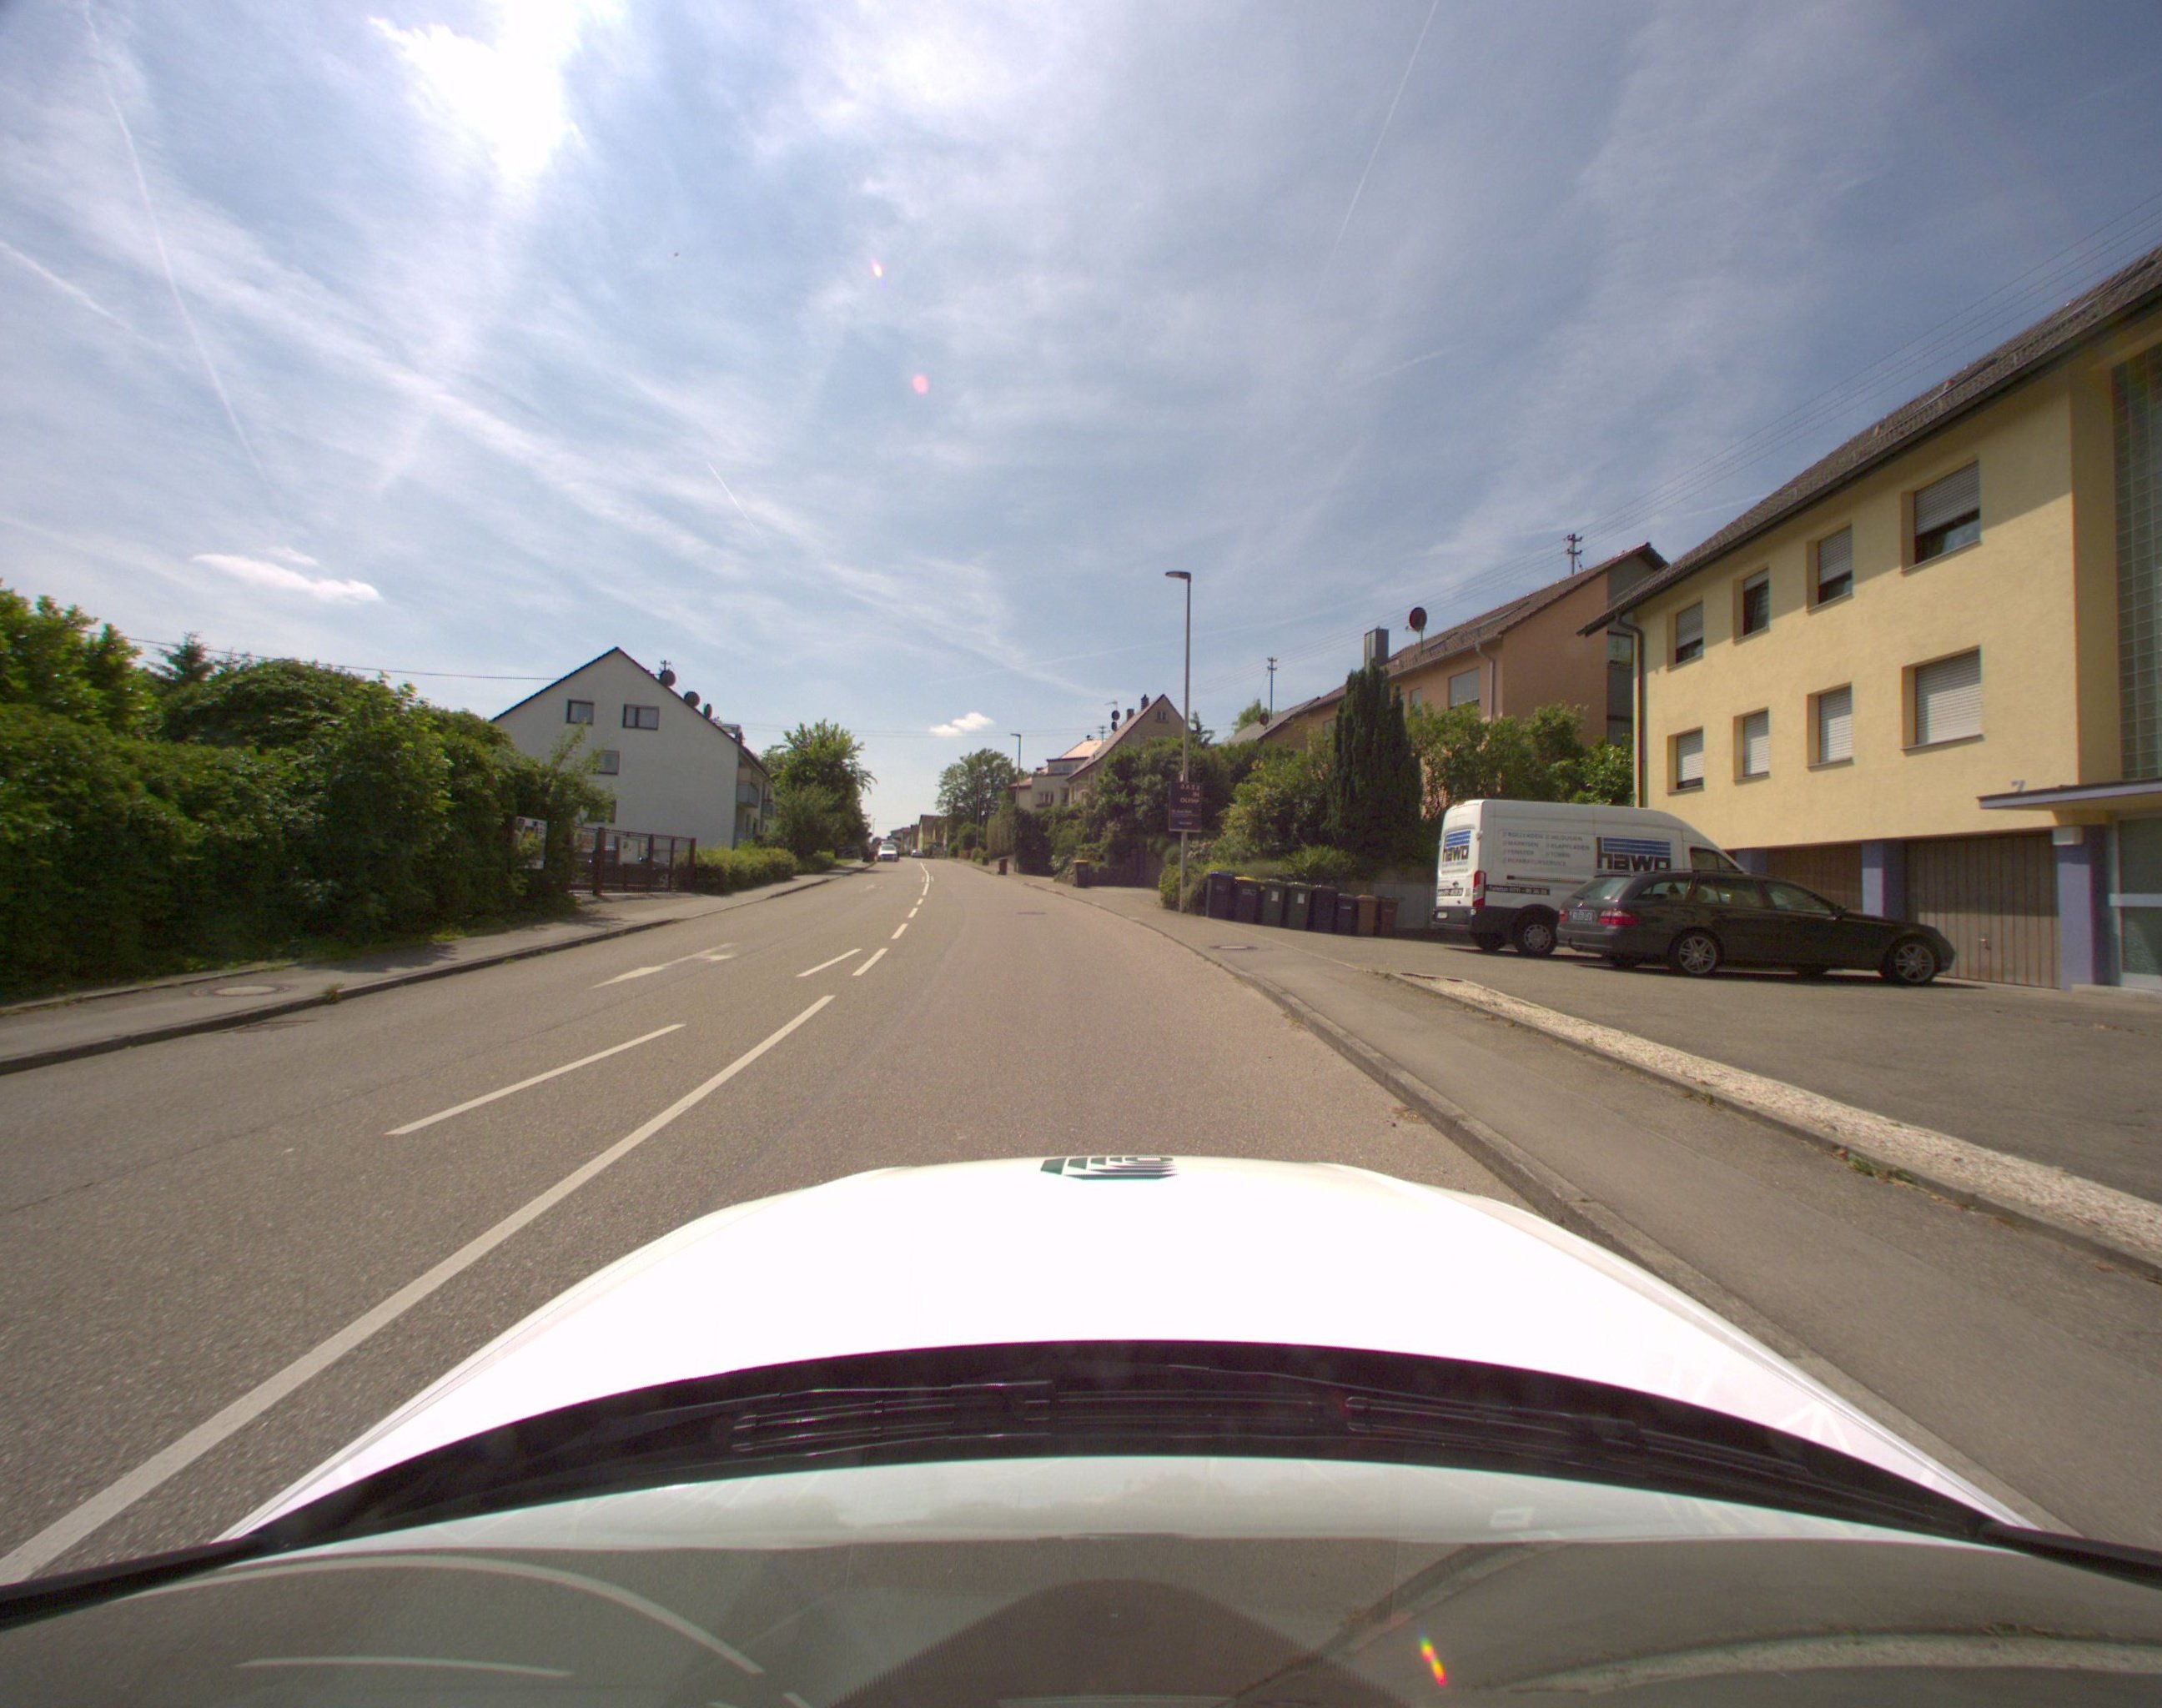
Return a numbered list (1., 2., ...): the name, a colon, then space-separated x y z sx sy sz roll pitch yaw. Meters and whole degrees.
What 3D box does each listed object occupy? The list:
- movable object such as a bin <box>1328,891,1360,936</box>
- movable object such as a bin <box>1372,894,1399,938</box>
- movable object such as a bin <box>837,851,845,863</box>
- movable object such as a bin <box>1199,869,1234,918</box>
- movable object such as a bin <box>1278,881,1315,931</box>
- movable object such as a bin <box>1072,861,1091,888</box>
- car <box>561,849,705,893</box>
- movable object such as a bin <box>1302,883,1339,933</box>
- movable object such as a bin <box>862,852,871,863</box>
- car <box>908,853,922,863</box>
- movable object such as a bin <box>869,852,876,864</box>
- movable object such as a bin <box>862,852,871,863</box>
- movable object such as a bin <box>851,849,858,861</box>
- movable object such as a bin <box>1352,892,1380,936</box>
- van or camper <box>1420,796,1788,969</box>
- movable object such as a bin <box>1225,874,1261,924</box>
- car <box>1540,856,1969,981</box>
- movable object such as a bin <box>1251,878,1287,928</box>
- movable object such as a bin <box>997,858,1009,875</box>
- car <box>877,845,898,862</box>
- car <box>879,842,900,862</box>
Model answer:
1. movable object such as a bin: 6.081 1.363 18.842 0.458 0.972 0.549 5 -1 -4
2. movable object such as a bin: 7.059 1.435 18.884 0.398 0.972 0.408 5 -1 -4
3. movable object such as a bin: -21.118 0.256 71.647 0.602 1.096 0.648 1 -1 -6
4. movable object such as a bin: 3.171 0.919 19.086 0.548 1.068 0.658 6 -1 -4
5. movable object such as a bin: 4.982 1.190 18.851 0.548 1.068 0.672 5 -1 -4
6. movable object such as a bin: 0.013 0.810 32.272 0.588 1.059 0.916 1 0 -10
7. car: -15.563 0.586 28.532 3.994 1.387 1.990 1 0 -15
8. movable object such as a bin: 5.548 1.236 18.889 0.548 1.068 0.672 5 -1 -4
9. movable object such as a bin: -17.183 0.281 65.257 0.618 0.917 0.684 1 0 -6
10. car: -27.390 0.651 134.335 1.996 1.603 3.981 1 0 -14
11. movable object such as a bin: -17.403 0.305 68.069 0.506 0.988 0.562 1 0 -6
12. movable object such as a bin: -17.517 0.293 66.504 0.563 0.917 0.641 1 0 -6
13. movable object such as a bin: -20.329 0.074 73.142 0.517 1.104 0.527 1 0 -14
14. movable object such as a bin: 6.577 1.381 18.797 0.398 0.972 0.408 5 -1 -4
15. van or camper: 9.307 0.522 14.915 5.205 2.647 2.286 3 -3 3
16. movable object such as a bin: 3.773 1.037 19.007 0.548 1.068 0.767 6 -1 -4
17. car: 9.623 0.906 11.980 4.680 1.563 1.910 1 -3 2
18. movable object such as a bin: 4.372 1.120 18.945 0.548 1.068 0.672 7 -1 -4
19. movable object such as a bin: -4.622 0.757 48.363 0.589 0.977 0.783 0 0 -13
20. car: -18.032 -0.076 75.860 1.814 1.549 4.222 2 0 -15
21. car: -19.578 -0.245 83.125 1.900 1.920 4.845 0 1 -15
